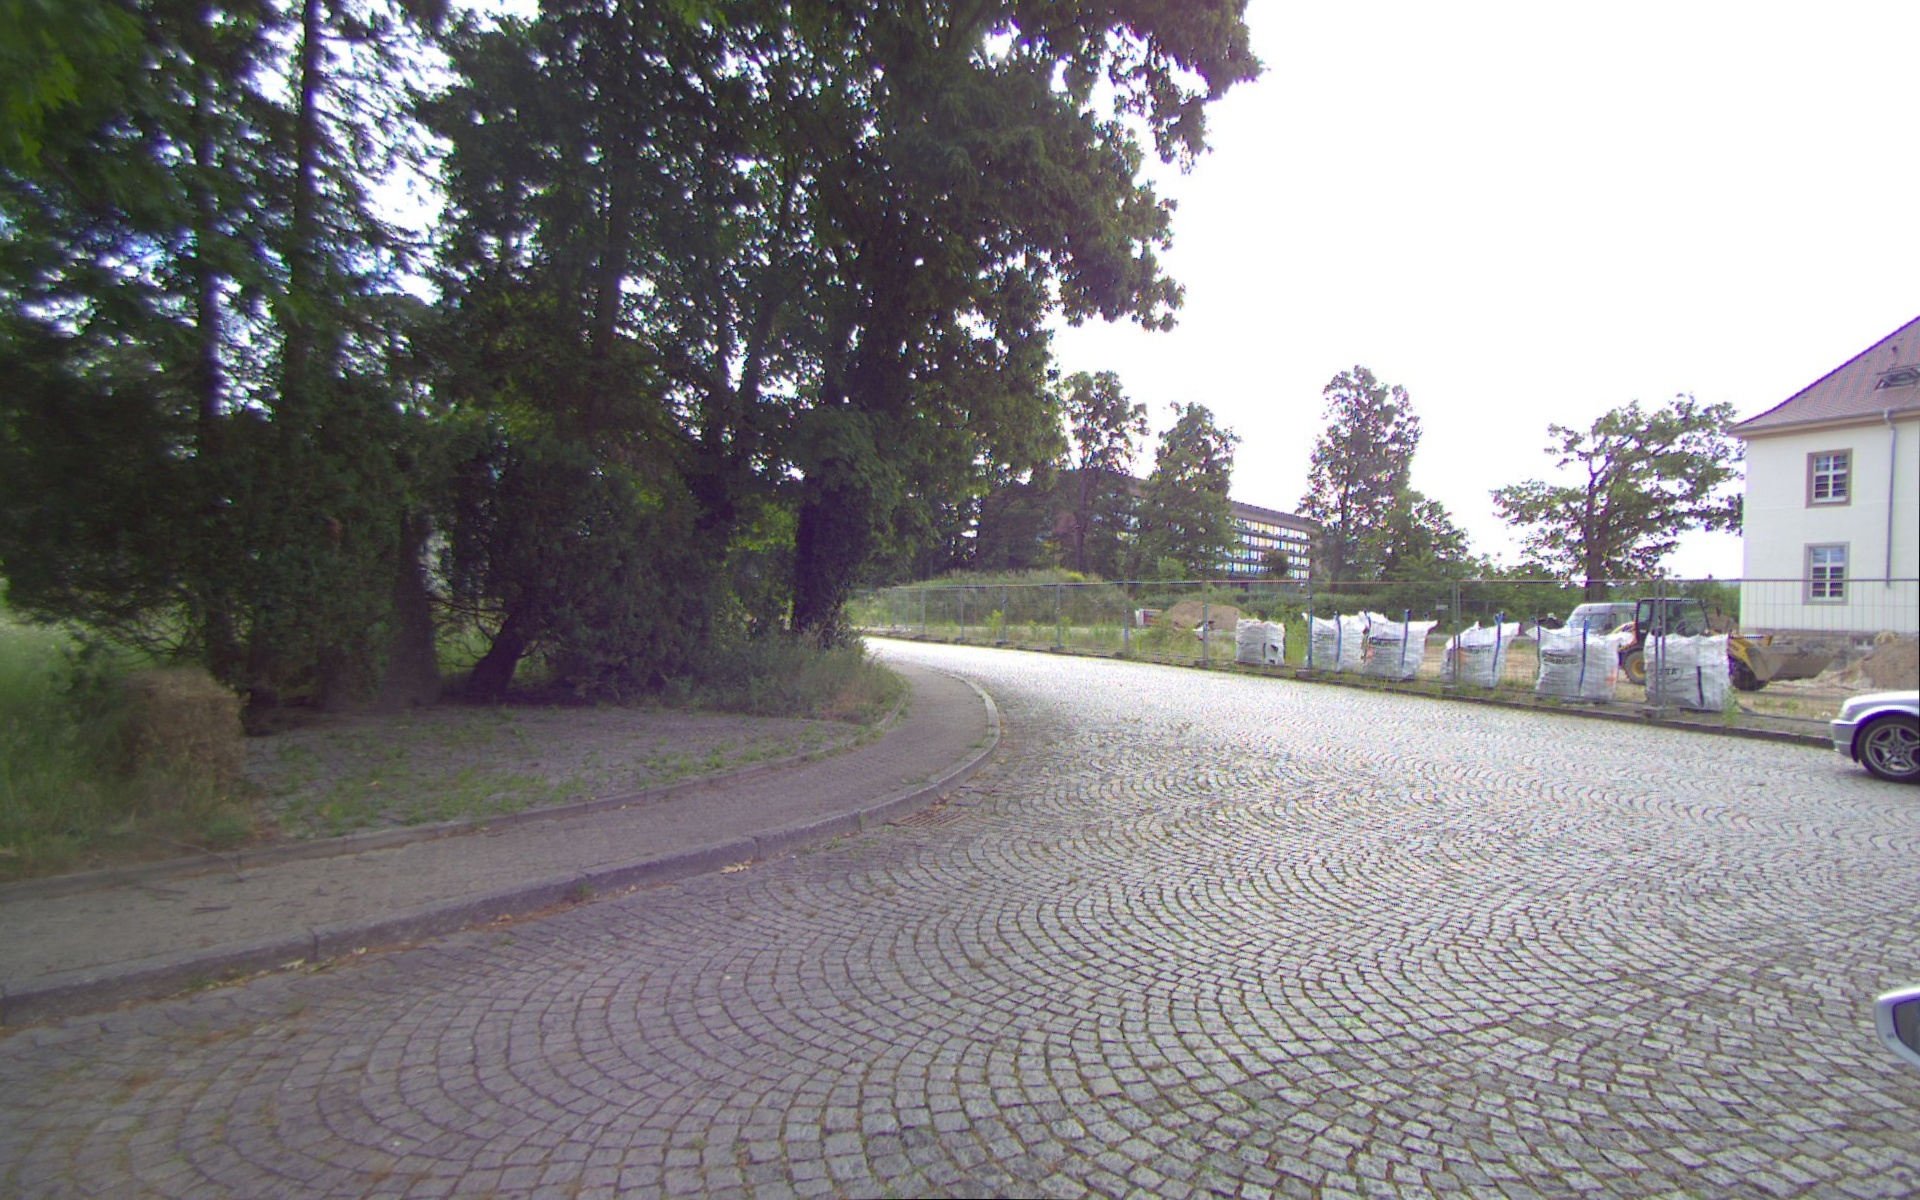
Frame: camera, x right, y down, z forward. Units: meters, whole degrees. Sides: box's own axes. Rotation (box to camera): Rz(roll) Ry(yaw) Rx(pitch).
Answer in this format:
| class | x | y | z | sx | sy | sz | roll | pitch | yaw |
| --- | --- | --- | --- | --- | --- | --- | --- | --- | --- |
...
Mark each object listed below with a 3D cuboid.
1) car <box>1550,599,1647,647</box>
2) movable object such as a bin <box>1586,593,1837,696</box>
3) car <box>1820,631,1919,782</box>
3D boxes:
| class | x | y | z | sx | sy | sz | roll | pitch | yaw |
| --- | --- | --- | --- | --- | --- | --- | --- | --- | --- |
| car | 30.943 | 1.118 | 48.647 | 4.845 | 2.179 | 2.056 | 2 | 0 | -32 |
| movable object such as a bin | 20.878 | 1.132 | 28.233 | 1.974 | 2.590 | 5.310 | 1 | 0 | -26 |
| car | 10.195 | 1.055 | 8.399 | 1.587 | 1.364 | 4.263 | 3 | -1 | -27 |
